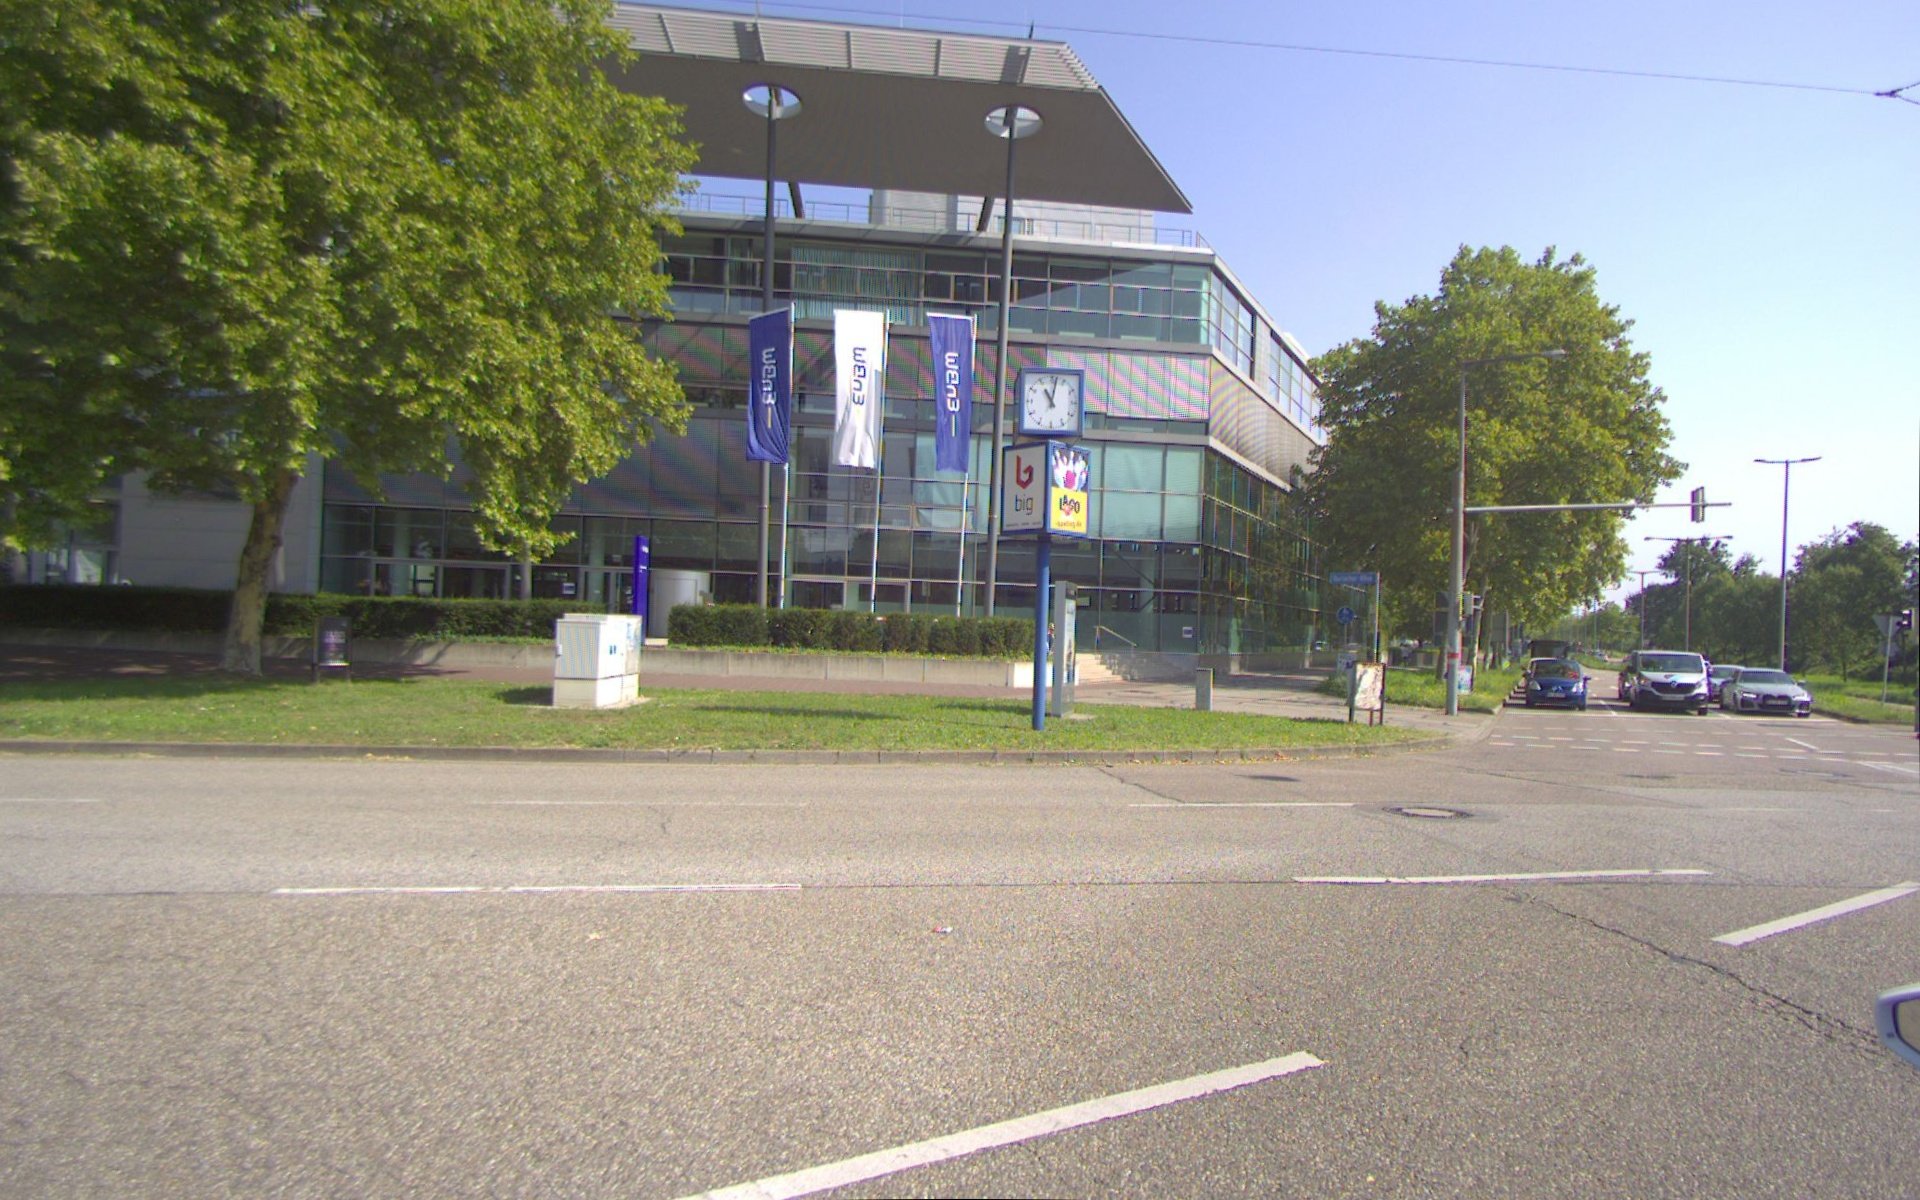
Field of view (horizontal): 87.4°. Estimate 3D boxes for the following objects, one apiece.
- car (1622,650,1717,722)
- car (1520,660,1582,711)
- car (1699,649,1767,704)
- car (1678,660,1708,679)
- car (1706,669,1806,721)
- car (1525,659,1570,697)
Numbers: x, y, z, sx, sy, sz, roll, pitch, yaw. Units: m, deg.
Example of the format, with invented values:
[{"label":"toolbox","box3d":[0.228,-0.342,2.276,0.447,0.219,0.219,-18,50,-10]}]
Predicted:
[{"label":"car","box3d":[22.983,2.701,32.713,1.898,1.983,5.205,1,-1,29]},{"label":"car","box3d":[19.376,2.784,32.915,1.644,1.555,3.723,-1,-4,31]},{"label":"car","box3d":[30.031,2.925,39.135,1.591,1.556,4.091,-1,3,31]},{"label":"car","box3d":[72.643,6.866,99.598,1.964,1.676,3.994,1,-3,30]},{"label":"car","box3d":[25.908,3.040,32.855,1.808,1.462,4.599,-1,-3,29]},{"label":"car","box3d":[25.840,3.419,44.169,1.644,1.555,3.723,-1,-3,31]}]
